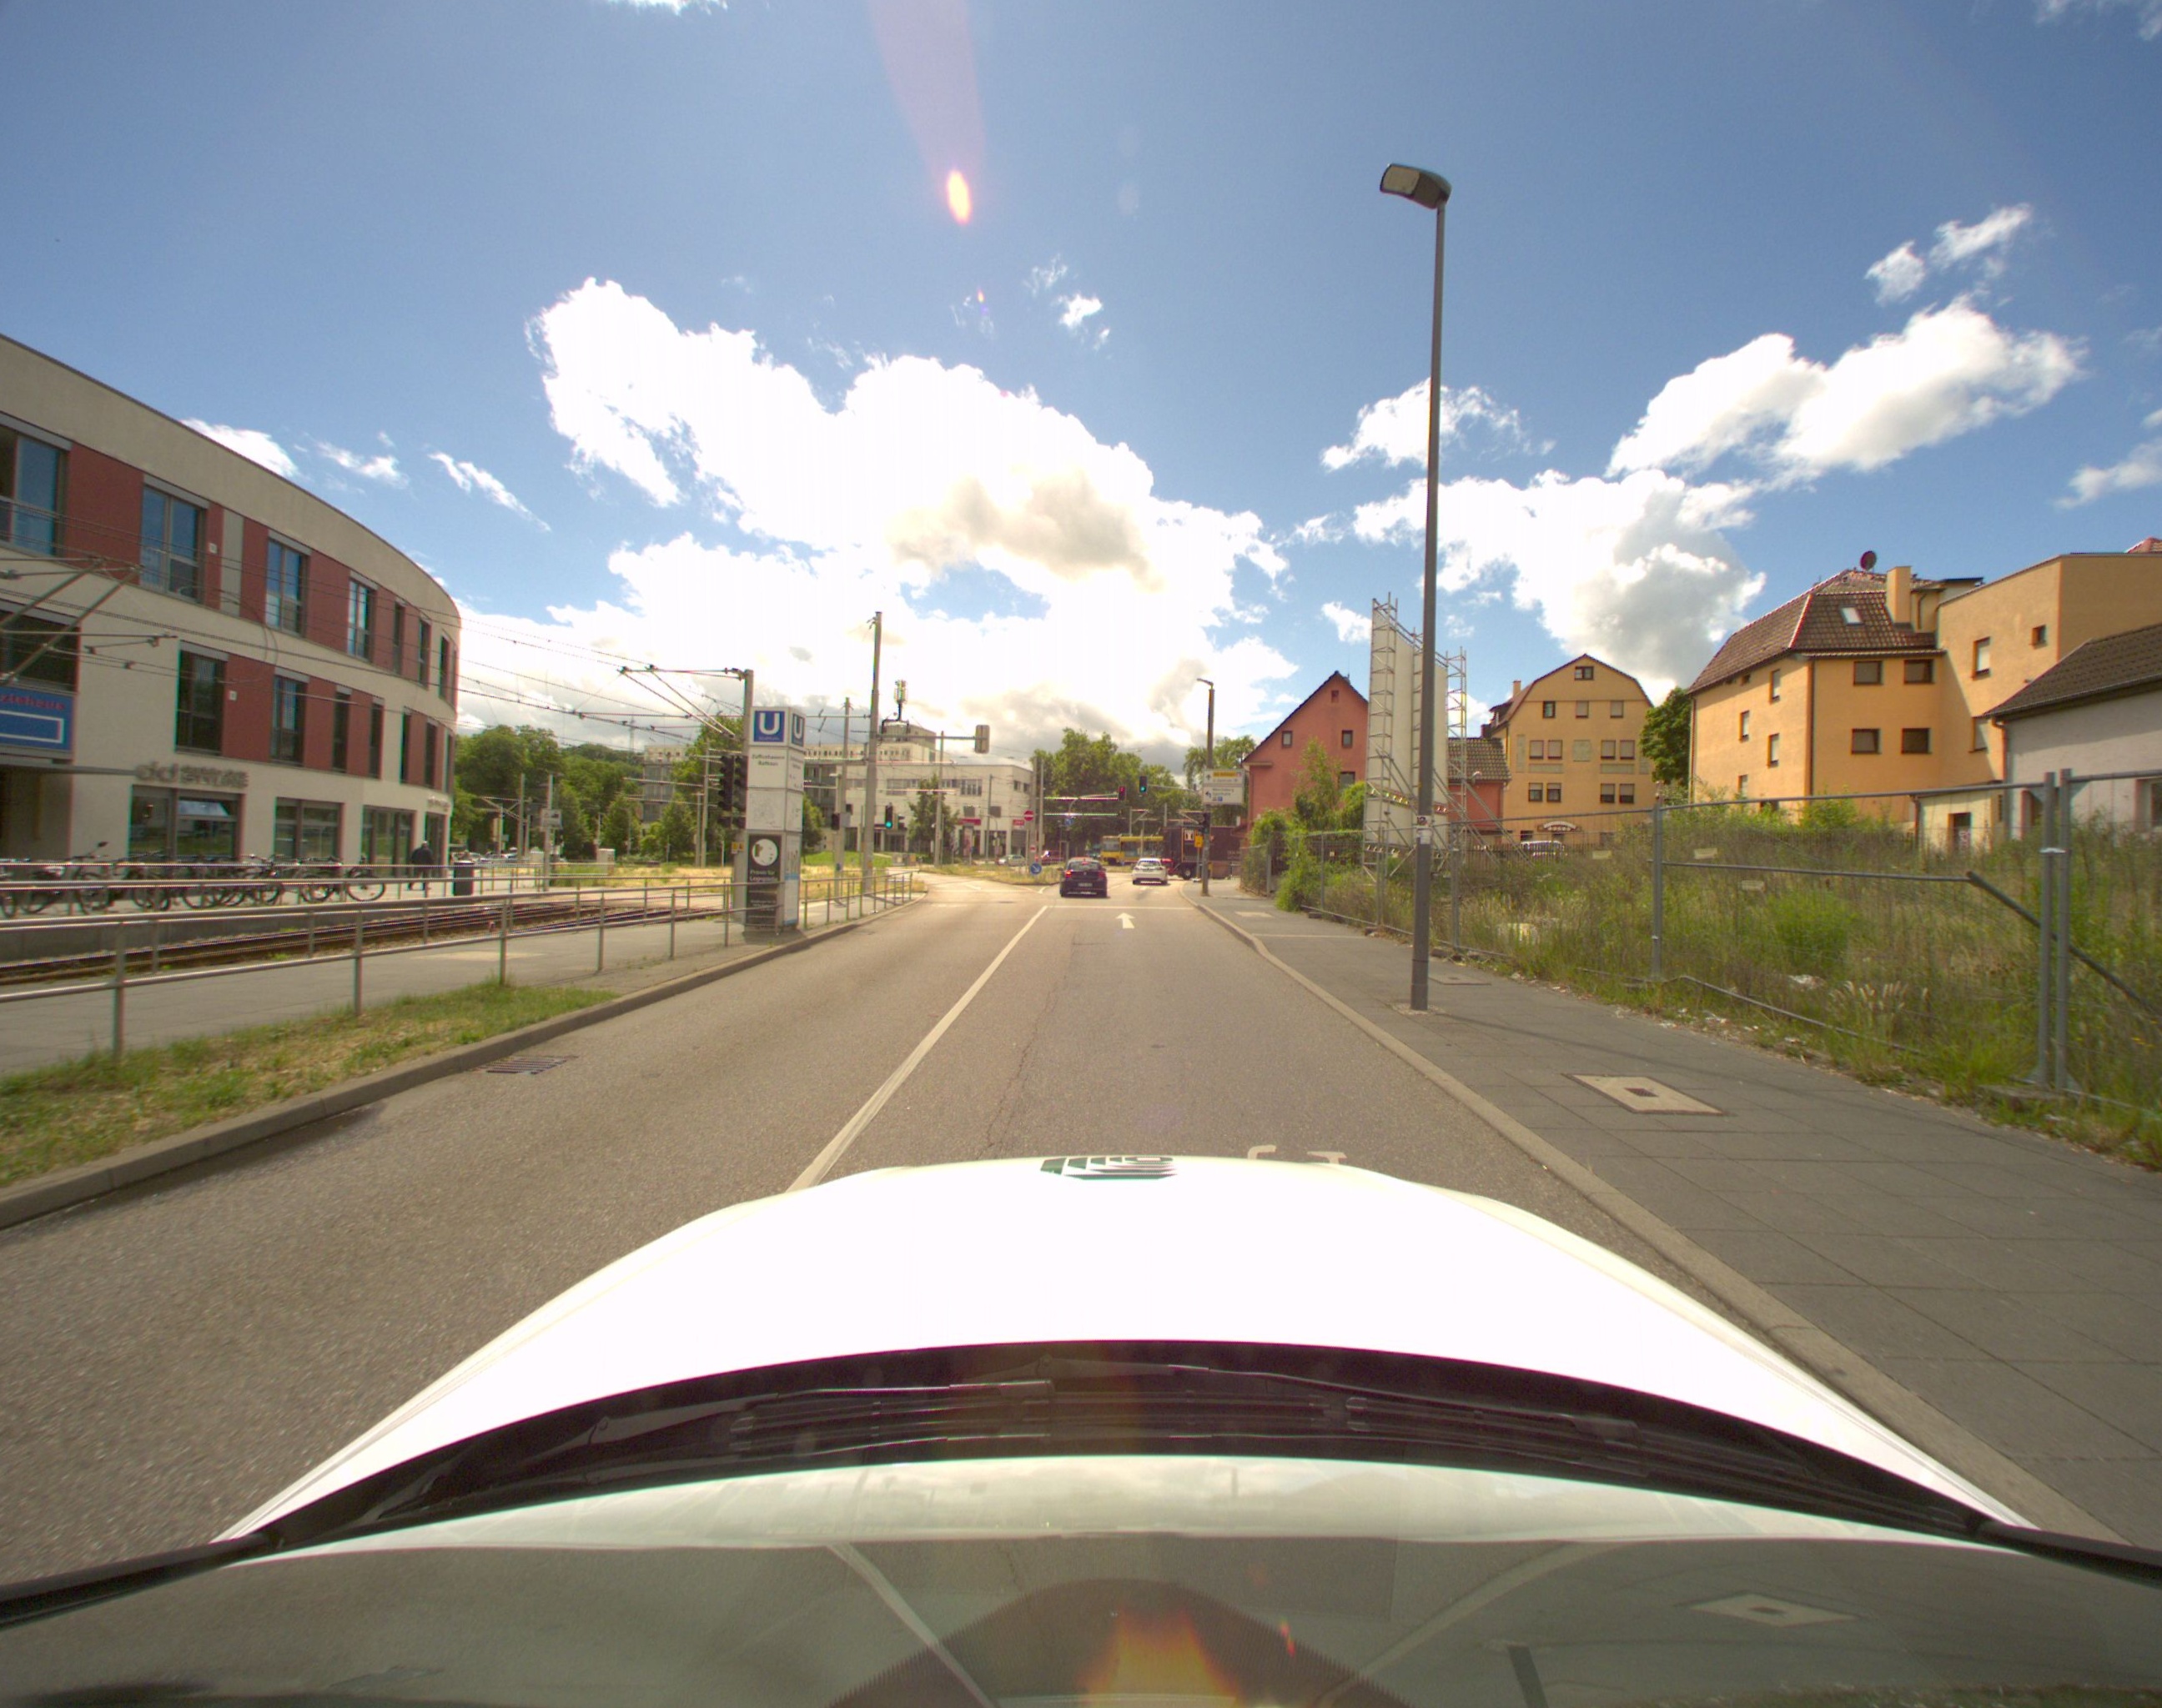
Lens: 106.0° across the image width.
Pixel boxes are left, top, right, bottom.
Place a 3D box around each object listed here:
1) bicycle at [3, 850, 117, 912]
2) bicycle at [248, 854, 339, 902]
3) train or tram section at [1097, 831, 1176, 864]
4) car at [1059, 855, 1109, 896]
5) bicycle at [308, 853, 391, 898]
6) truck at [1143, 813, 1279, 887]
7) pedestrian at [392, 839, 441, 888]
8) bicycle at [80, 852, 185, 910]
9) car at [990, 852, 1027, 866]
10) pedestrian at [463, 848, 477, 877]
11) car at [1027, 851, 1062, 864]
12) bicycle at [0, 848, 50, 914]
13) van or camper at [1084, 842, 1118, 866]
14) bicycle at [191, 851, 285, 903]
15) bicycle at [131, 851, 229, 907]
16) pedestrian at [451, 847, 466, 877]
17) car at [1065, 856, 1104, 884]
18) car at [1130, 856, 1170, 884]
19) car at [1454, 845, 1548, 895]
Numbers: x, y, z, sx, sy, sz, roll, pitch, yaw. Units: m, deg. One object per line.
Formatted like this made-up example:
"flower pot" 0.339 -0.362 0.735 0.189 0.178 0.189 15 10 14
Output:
"bicycle" -18.474 0.489 14.747 1.502 1.101 0.408 0 -3 1
"bicycle" -18.124 0.555 18.754 1.560 1.101 0.515 0 -3 1
"train or tram section" 7.386 -0.750 102.887 2.672 3.750 18.470 2 0 28
"car" 0.064 0.778 31.139 1.722 1.456 3.805 1 0 -3
"bicycle" -18.238 0.539 20.324 1.560 1.101 0.515 0 -3 1
"truck" 9.153 -0.208 57.102 9.039 4.536 3.188 4 -2 -24
"pedestrian" -22.087 0.319 27.101 0.853 1.572 0.857 4 -2 -13
"bicycle" -18.289 0.524 15.712 1.502 1.101 0.408 0 -3 1
"car" -8.554 0.570 95.774 1.975 1.464 4.023 1 -1 43
"pedestrian" -32.873 0.465 43.814 0.471 1.531 0.401 5 -3 -44
"car" -4.468 0.460 100.700 1.975 1.600 4.224 1 0 42
"bicycle" -18.465 0.456 13.753 1.560 1.101 0.408 0 -3 1
"van or camper" 2.764 0.066 111.482 2.155 2.806 6.103 2 -3 27
"bicycle" -18.314 0.497 17.705 1.502 1.101 0.493 0 -3 1
"bicycle" -18.305 0.508 16.559 1.502 1.101 0.408 0 -3 1
"pedestrian" -33.214 0.432 43.465 0.471 1.531 0.453 5 -3 -43
"car" 0.228 0.827 43.225 1.703 1.393 3.815 1 0 6
"car" 3.925 0.863 46.055 1.876 1.465 4.080 1 1 10
"car" 10.160 0.365 19.824 1.068 1.121 2.447 -1 0 2
